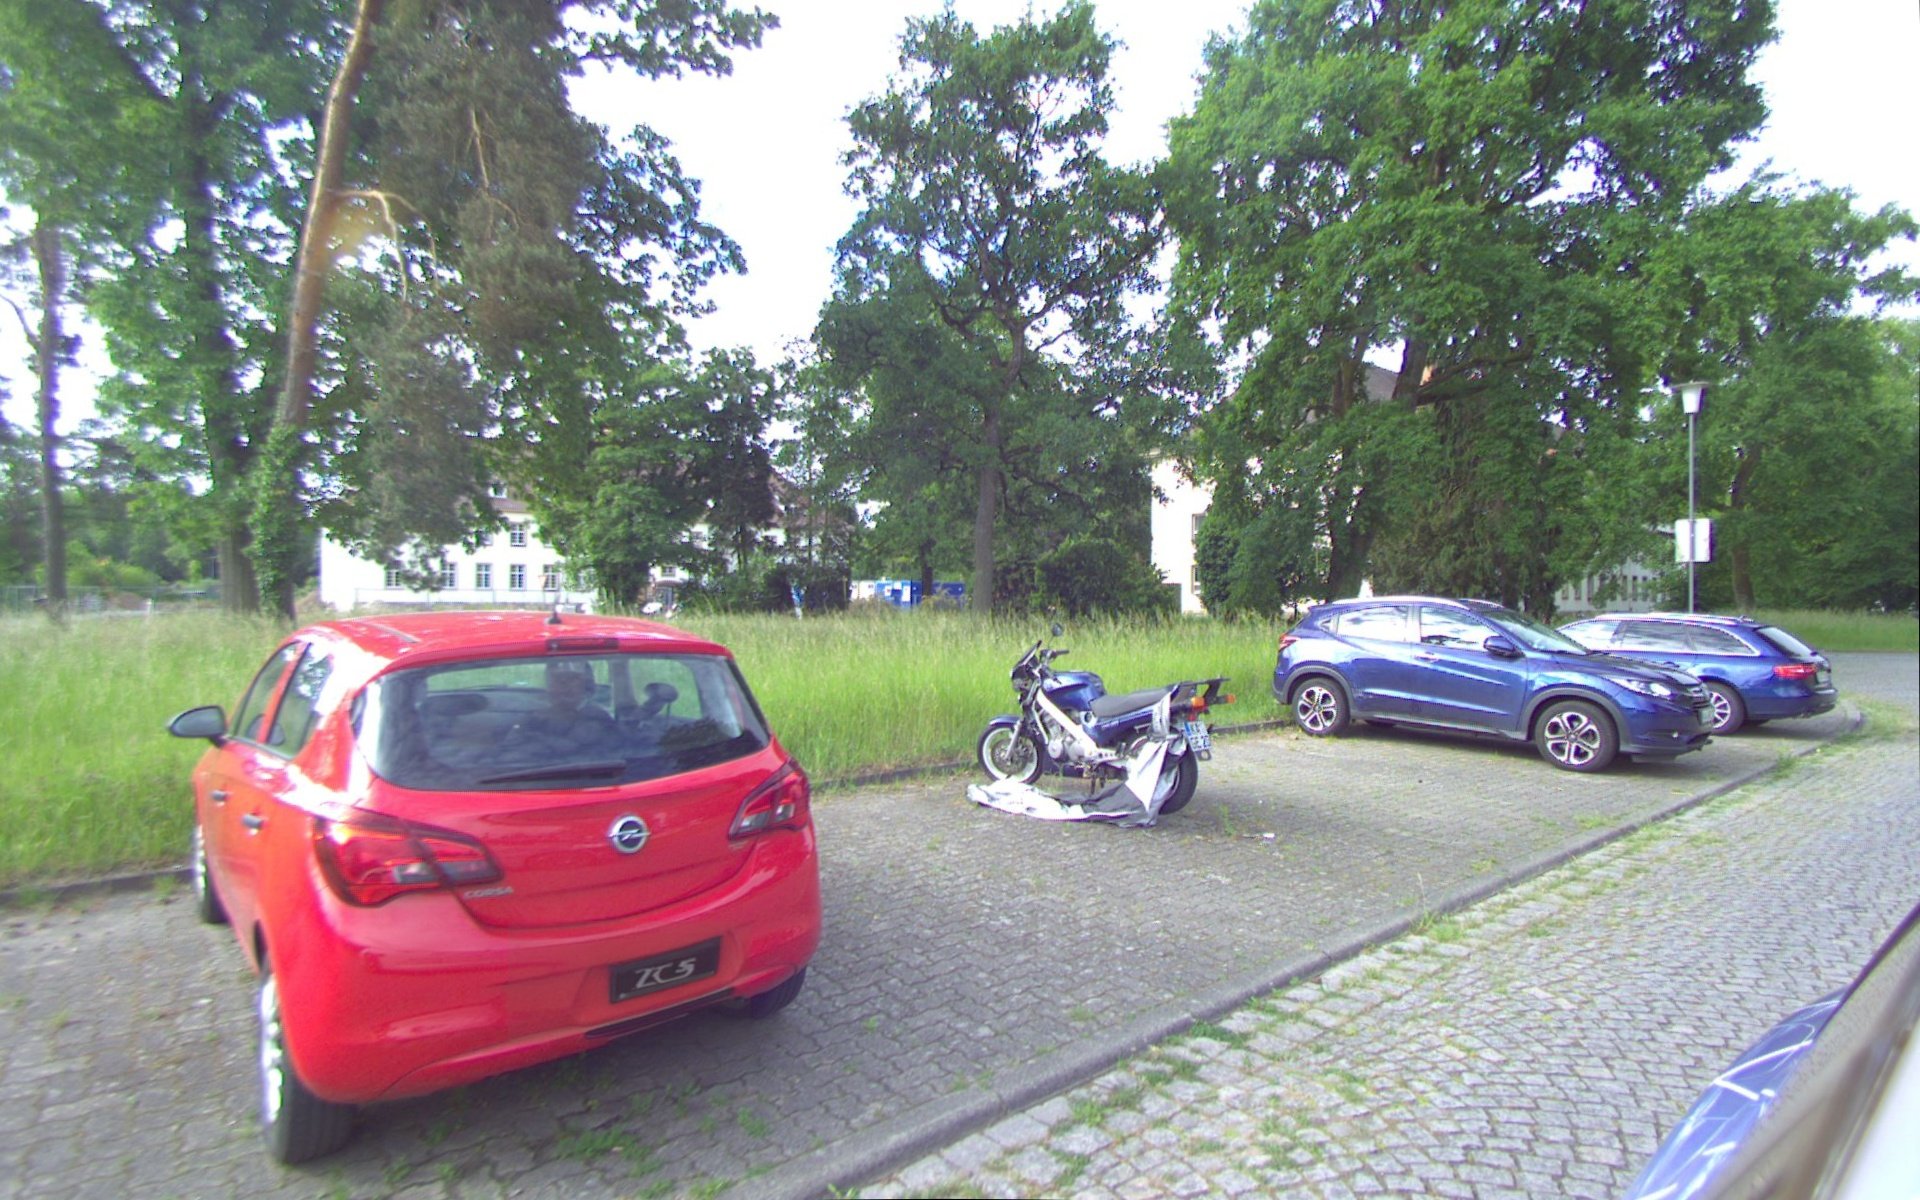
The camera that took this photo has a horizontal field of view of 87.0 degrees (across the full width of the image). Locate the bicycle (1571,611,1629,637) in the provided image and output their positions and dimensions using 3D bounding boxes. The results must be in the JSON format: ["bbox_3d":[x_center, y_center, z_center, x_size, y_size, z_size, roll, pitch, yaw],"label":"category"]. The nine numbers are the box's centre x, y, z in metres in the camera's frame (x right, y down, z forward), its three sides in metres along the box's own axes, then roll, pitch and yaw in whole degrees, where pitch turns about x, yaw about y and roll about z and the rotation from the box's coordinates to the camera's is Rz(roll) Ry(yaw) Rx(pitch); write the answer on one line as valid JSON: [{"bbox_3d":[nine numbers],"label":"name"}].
[{"bbox_3d":[25.111,0.933,39.728,1.835,1.002,0.453,1,0,24],"label":"bicycle"}]

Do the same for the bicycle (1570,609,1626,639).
[{"bbox_3d":[24.748,0.914,39.282,1.792,1.101,0.475,0,2,24],"label":"bicycle"}]

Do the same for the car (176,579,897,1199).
[{"bbox_3d":[-2.116,0.697,4.294,1.708,1.524,3.846,0,1,-41],"label":"car"}]

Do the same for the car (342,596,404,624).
[{"bbox_3d":[-44.712,0.793,77.045,5.813,2.039,2.449,-1,0,42],"label":"car"}]

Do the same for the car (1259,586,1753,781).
[{"bbox_3d":[5.606,0.695,10.852,1.862,1.593,4.272,1,1,-40],"label":"car"}]

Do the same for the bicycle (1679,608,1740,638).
[{"bbox_3d":[29.092,0.887,39.302,1.849,1.101,0.515,1,2,29],"label":"bicycle"}]

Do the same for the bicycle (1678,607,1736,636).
[{"bbox_3d":[30.151,0.874,40.859,1.792,1.101,0.548,1,2,29],"label":"bicycle"}]

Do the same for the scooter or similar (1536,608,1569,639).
[{"bbox_3d":[23.318,0.908,39.806,0.378,1.210,1.063,1,0,-37],"label":"scooter or similar"}]

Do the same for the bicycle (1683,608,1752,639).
[{"bbox_3d":[28.329,0.859,37.900,1.999,1.101,0.474,1,2,29],"label":"bicycle"}]

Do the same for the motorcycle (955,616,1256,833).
[{"bbox_3d":[0.972,0.798,7.356,0.596,1.291,2.265,0,0,-45],"label":"motorcycle"}]

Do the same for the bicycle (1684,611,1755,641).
[{"bbox_3d":[27.338,0.920,36.466,1.999,1.022,0.474,1,2,29],"label":"bicycle"}]

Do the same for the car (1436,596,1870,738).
[{"bbox_3d":[9.191,0.756,13.815,1.860,1.483,4.519,1,1,-36],"label":"car"}]

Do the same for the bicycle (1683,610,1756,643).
[{"bbox_3d":[27.050,0.917,36.074,1.999,1.101,0.474,1,2,29],"label":"bicycle"}]

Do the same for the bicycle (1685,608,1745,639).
[{"bbox_3d":[28.772,0.894,38.578,1.773,1.101,0.474,1,2,29],"label":"bicycle"}]

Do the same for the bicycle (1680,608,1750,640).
[{"bbox_3d":[27.896,0.877,37.440,1.999,1.101,0.474,1,2,29],"label":"bicycle"}]

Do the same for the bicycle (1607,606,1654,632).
[{"bbox_3d":[28.082,0.792,42.407,1.550,1.047,0.472,1,0,26],"label":"bicycle"}]

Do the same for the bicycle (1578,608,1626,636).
[{"bbox_3d":[26.084,0.891,41.135,1.546,1.102,0.559,1,0,20],"label":"bicycle"}]
